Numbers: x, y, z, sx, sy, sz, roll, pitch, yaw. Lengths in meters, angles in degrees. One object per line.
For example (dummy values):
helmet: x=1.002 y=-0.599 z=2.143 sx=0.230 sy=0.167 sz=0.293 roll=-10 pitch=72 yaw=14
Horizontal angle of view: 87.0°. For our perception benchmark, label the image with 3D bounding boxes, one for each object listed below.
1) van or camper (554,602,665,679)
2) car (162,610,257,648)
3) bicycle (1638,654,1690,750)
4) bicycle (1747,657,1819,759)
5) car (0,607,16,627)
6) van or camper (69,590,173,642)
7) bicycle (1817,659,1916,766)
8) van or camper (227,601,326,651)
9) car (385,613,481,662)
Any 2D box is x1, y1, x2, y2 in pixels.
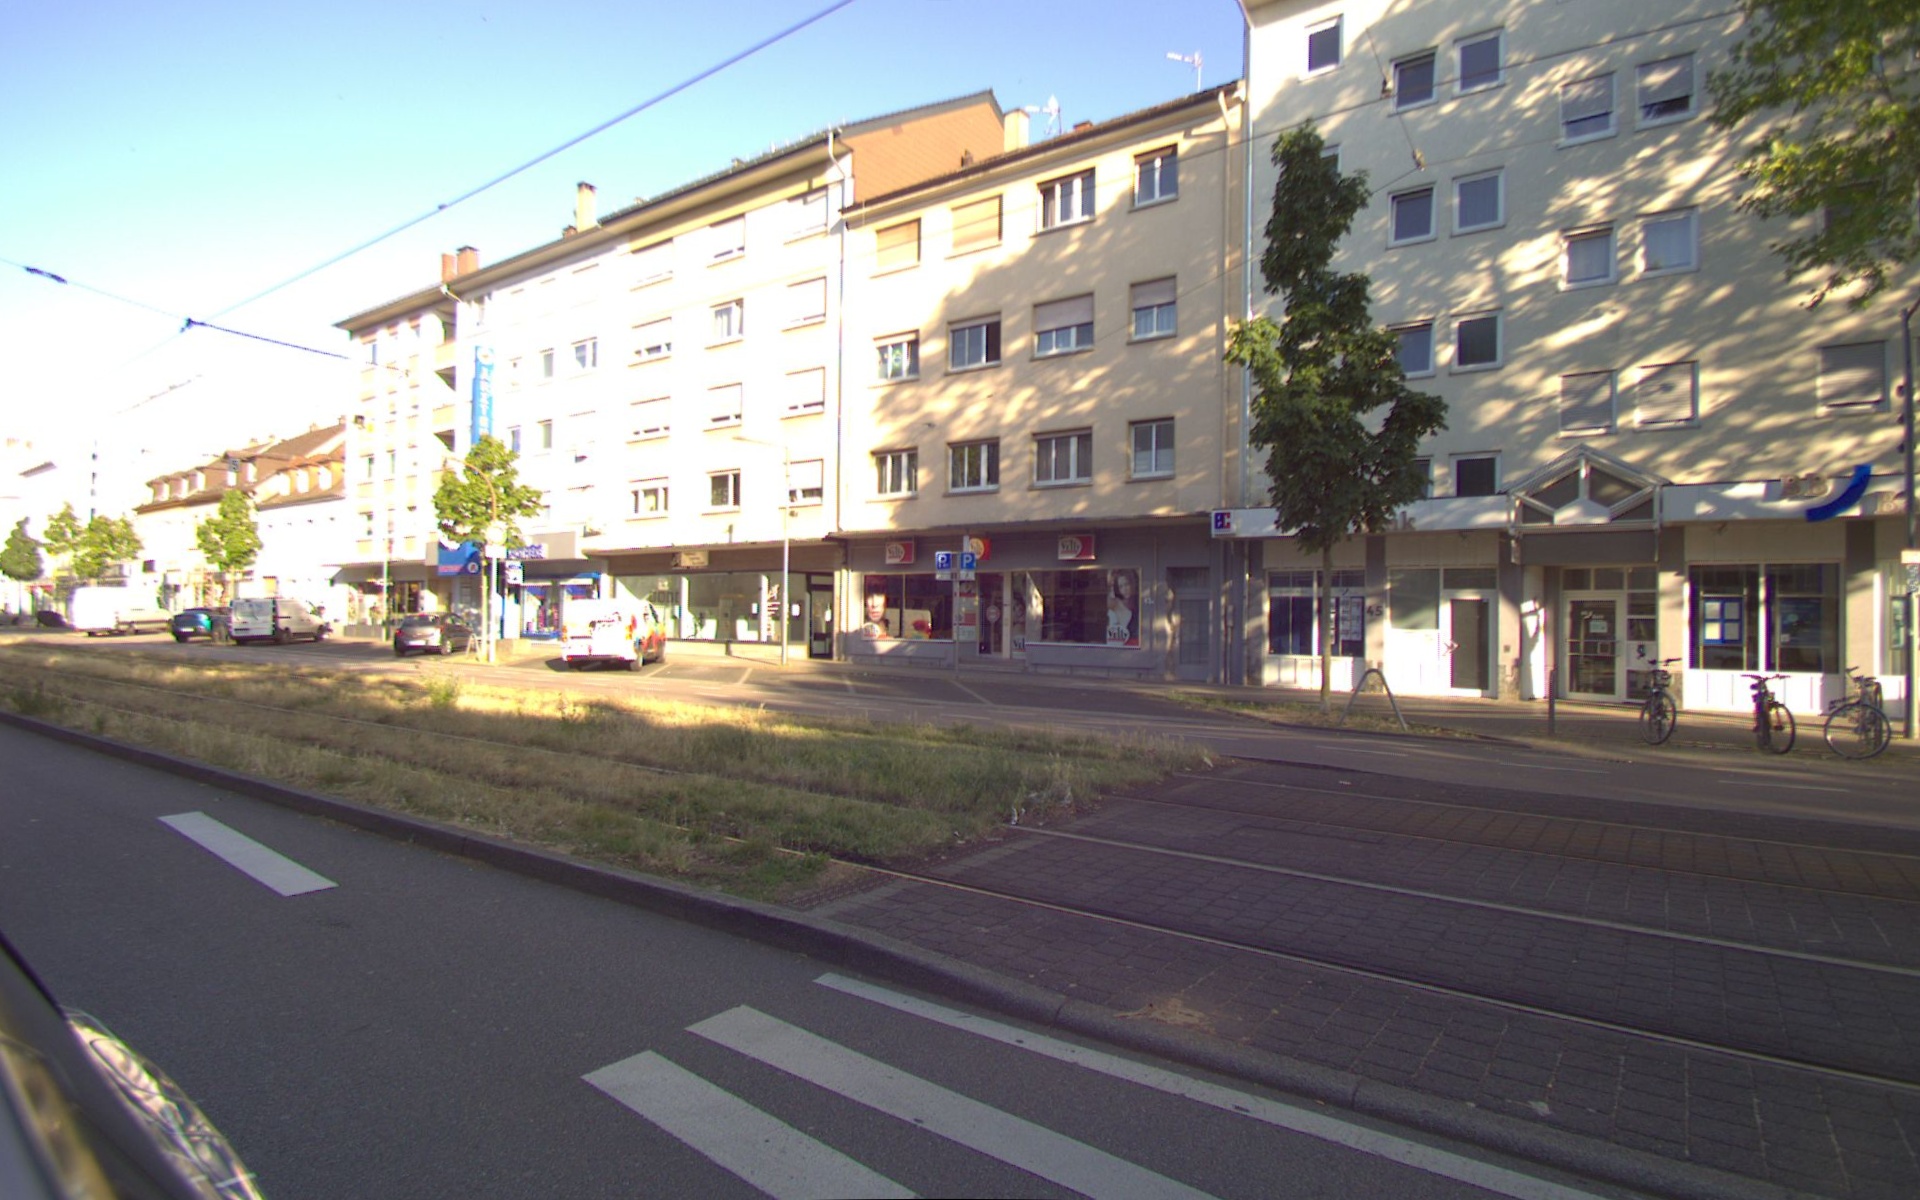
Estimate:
van or camper: x=-9.630 y=1.027 z=28.198 sx=1.921 sy=1.912 sz=4.822 roll=-1 pitch=0 yaw=-6
car: x=-35.005 y=1.314 z=47.337 sx=1.850 sy=1.598 sz=4.007 roll=-1 pitch=0 yaw=-7
bicycle: x=9.599 y=1.350 z=13.825 sx=0.533 sy=1.133 sz=1.878 roll=0 pitch=-1 yaw=34
bicycle: x=10.622 y=1.350 z=13.104 sx=0.533 sy=1.133 sz=1.878 roll=0 pitch=-1 yaw=34
car: x=-74.049 y=1.312 z=76.293 sx=1.752 sy=1.501 sz=3.899 roll=-1 pitch=0 yaw=13
van or camper: x=-46.073 y=0.812 z=55.795 sx=1.966 sy=2.687 sz=6.417 roll=-1 pitch=0 yaw=-16
bicycle: x=11.273 y=1.353 z=12.638 sx=0.650 sy=1.133 sz=1.878 roll=0 pitch=-1 yaw=34
van or camper: x=-29.278 y=1.048 z=43.502 sx=1.771 sy=2.004 sz=4.460 roll=-1 pitch=0 yaw=-8
car: x=-18.342 y=1.266 z=35.427 sx=1.741 sy=1.501 sz=4.461 roll=-1 pitch=0 yaw=-11
